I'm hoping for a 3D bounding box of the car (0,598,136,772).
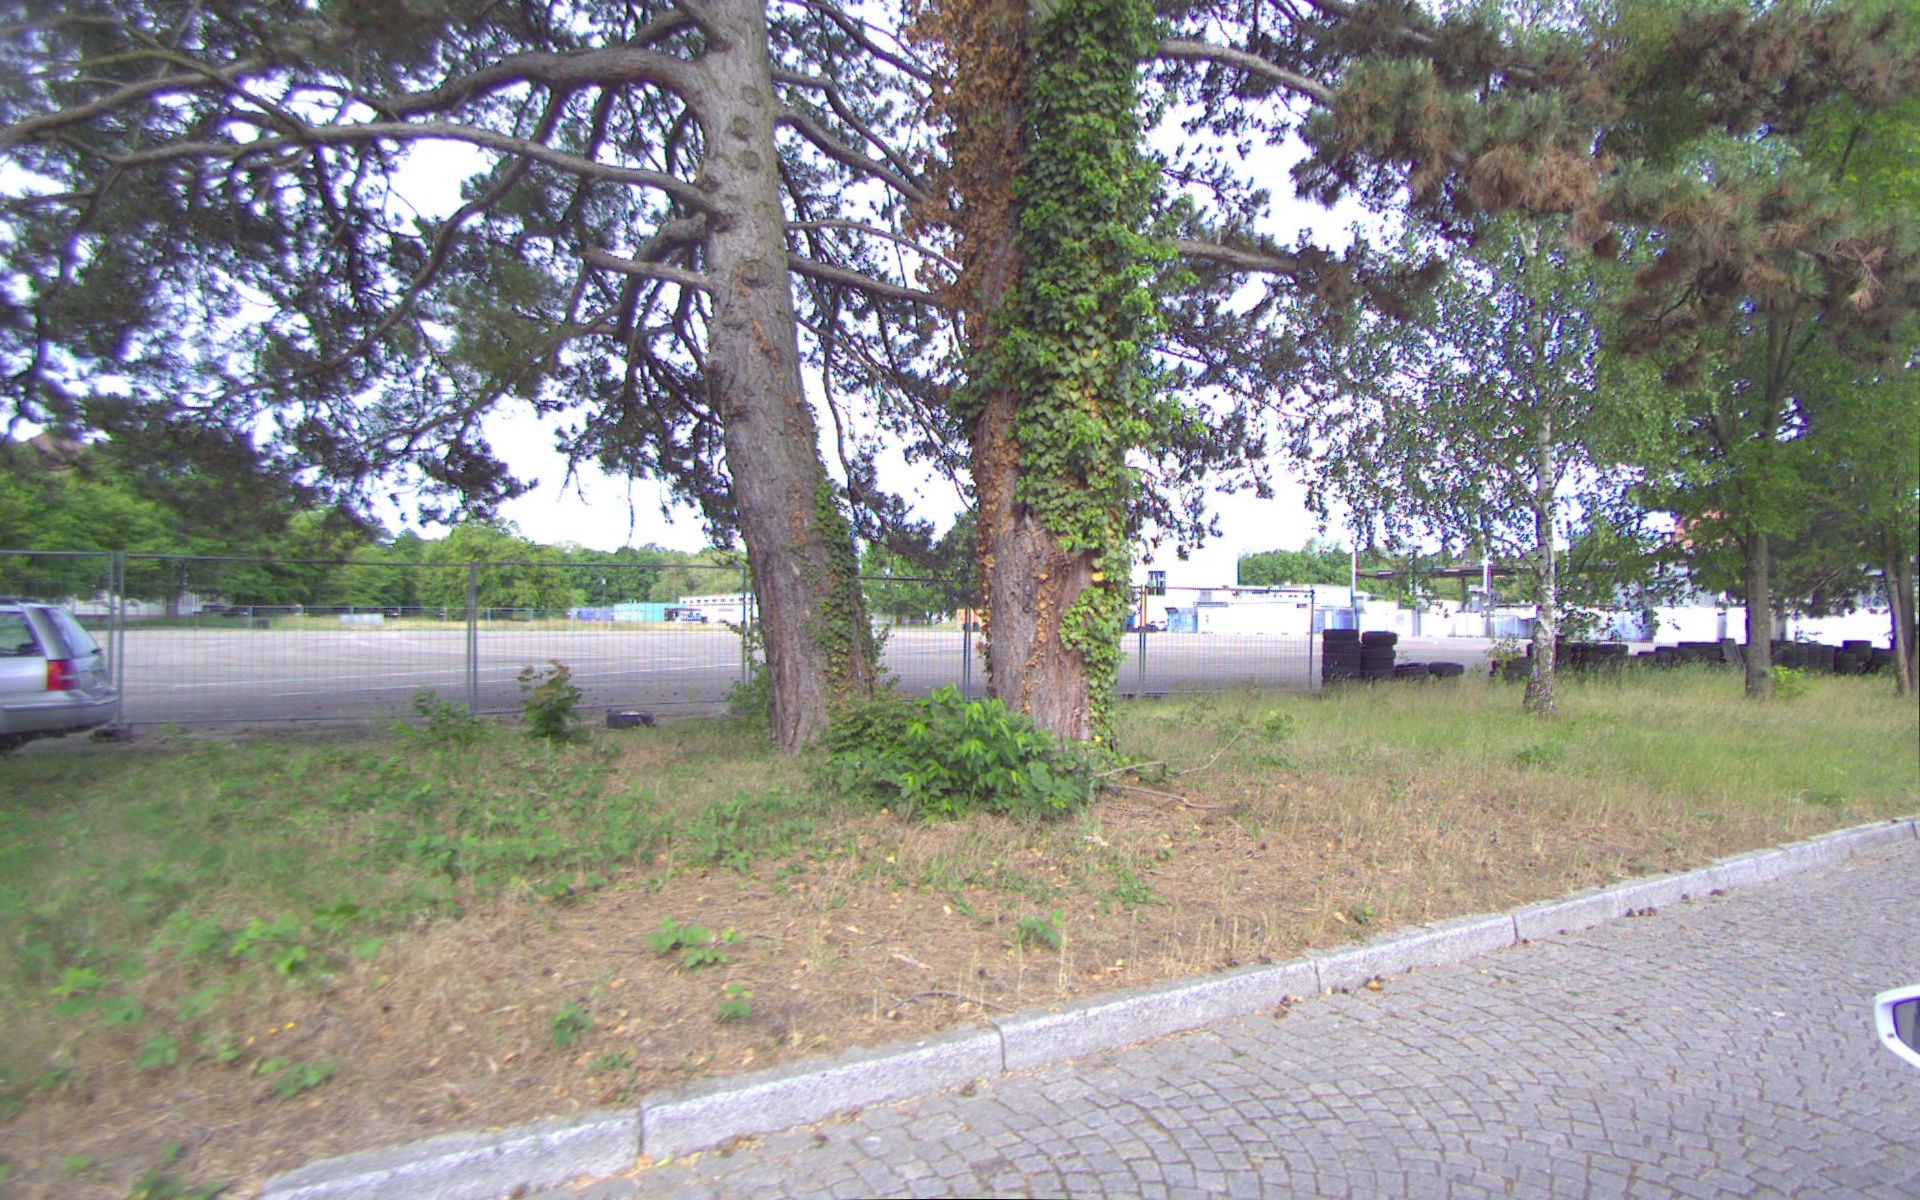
[{"bbox_3d":[-9.683,0.722,8.175,4.374,1.435,1.814,1,-3,-33],"label":"car"}]
